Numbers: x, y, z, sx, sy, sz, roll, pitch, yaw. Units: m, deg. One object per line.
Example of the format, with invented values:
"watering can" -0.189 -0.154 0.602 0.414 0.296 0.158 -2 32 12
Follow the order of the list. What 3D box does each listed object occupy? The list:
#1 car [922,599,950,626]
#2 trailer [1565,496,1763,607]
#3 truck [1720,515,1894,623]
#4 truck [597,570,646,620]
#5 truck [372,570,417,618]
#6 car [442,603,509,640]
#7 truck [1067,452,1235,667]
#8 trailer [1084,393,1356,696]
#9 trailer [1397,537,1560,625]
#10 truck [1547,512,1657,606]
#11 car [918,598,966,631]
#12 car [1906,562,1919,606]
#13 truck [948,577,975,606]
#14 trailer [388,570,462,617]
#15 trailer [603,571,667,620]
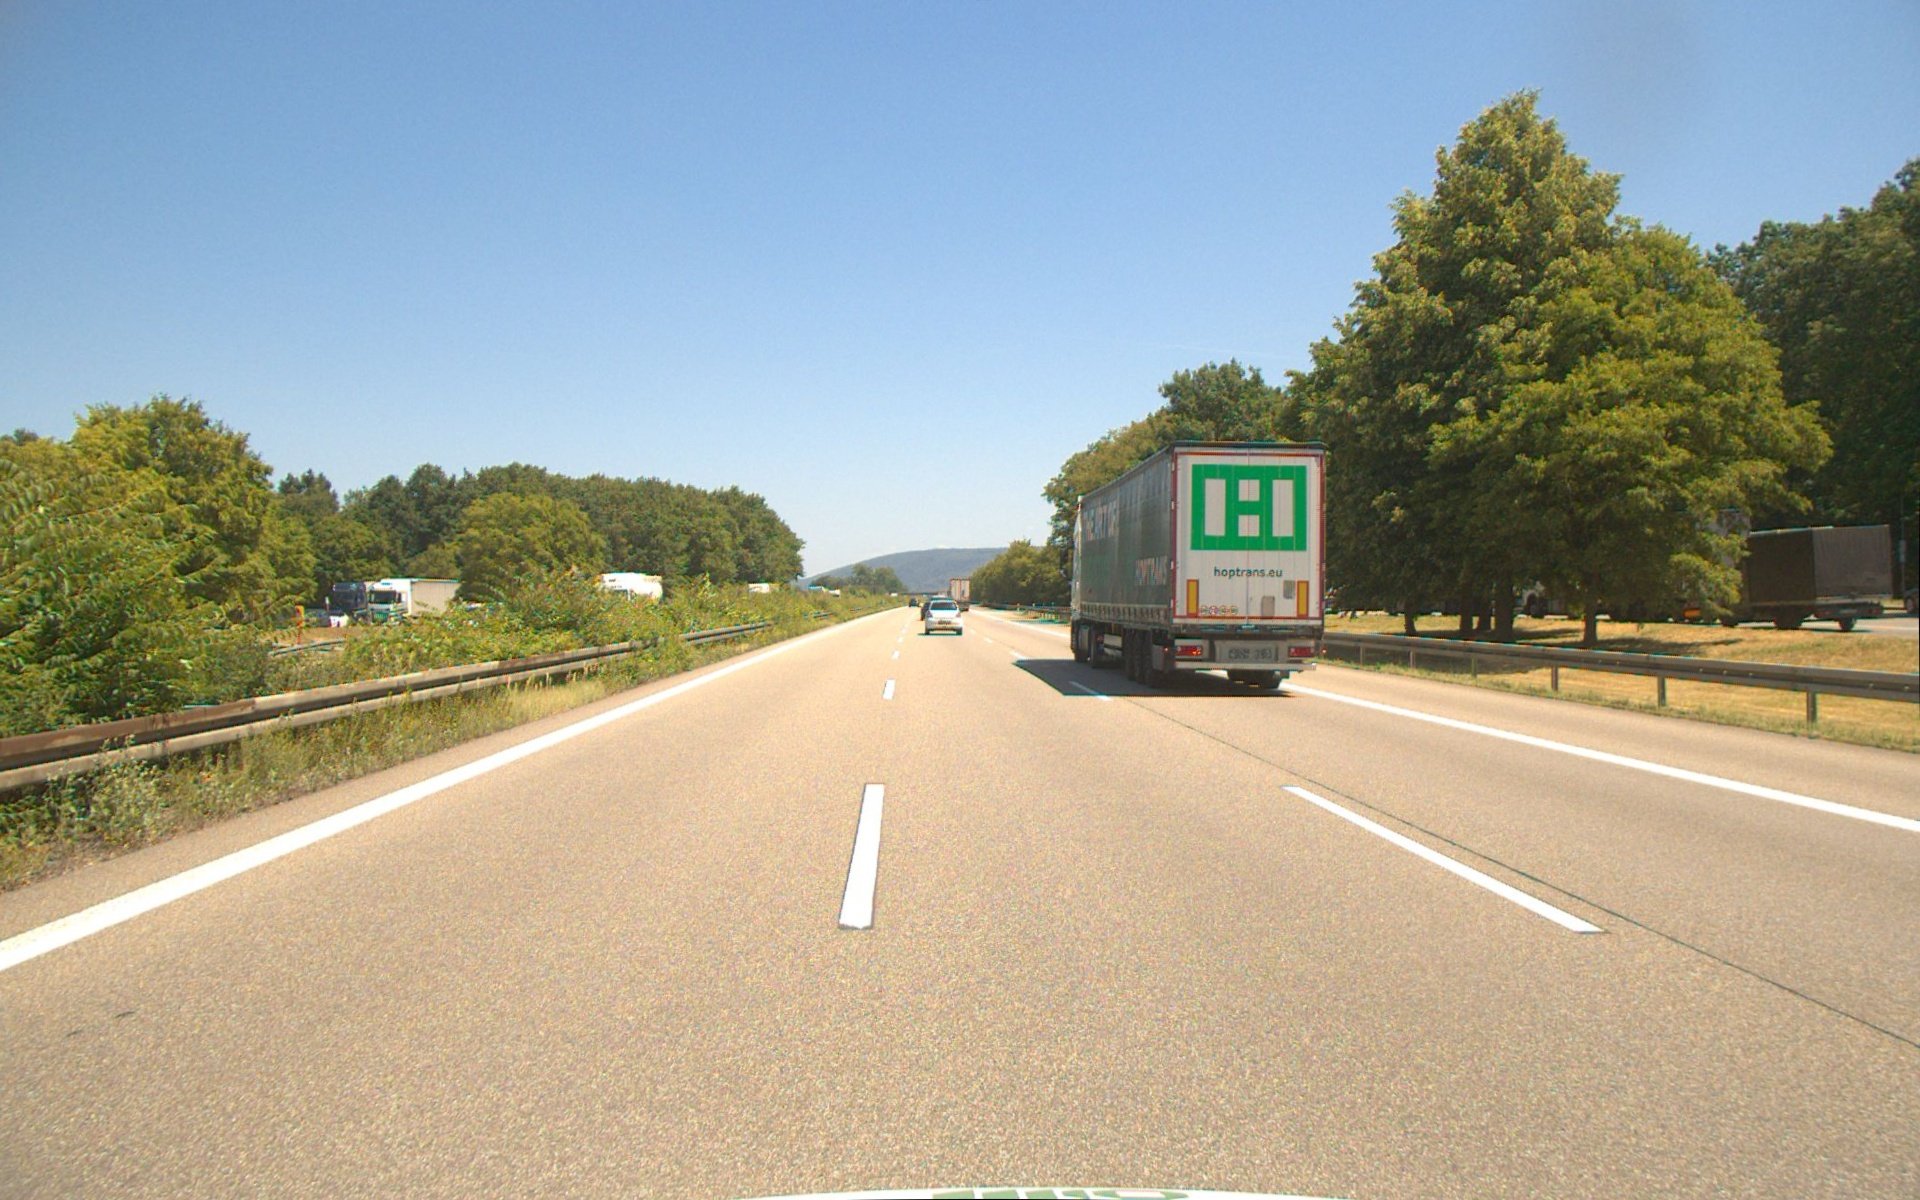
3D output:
"car" -1.780 0.926 122.660 1.858 1.925 4.001 -2 0 1
"trailer" 26.922 -1.700 64.194 3.036 3.856 13.371 0 0 5
"truck" 26.150 -0.904 51.437 2.416 3.140 6.620 0 0 4
"truck" -21.579 -0.300 105.513 2.299 3.133 4.396 0 0 -1
"truck" -46.879 -0.492 137.195 2.207 3.938 3.804 0 0 5
"car" -20.973 0.921 71.709 1.804 1.490 4.269 -1 0 -3
"truck" 4.384 -0.904 39.264 3.118 4.688 5.946 -1 0 -1
"trailer" 4.528 -0.886 31.909 3.117 4.708 12.047 -1 0 -1
"trailer" 26.224 -0.903 84.765 3.073 4.021 14.186 -1 0 -3
"truck" 27.522 -1.713 71.159 3.023 3.856 5.320 0 0 5
"car" -0.838 0.632 74.753 1.777 1.429 3.311 -1 0 -8
"car" 35.335 -0.584 58.428 1.803 1.573 4.002 -1 0 5
"truck" 0.159 -1.108 218.403 3.258 3.822 12.792 0 0 -1
"trailer" -46.346 -0.520 143.667 2.242 3.938 10.712 0 0 4
"trailer" -21.681 -0.307 110.898 2.323 3.144 10.646 0 0 -1
